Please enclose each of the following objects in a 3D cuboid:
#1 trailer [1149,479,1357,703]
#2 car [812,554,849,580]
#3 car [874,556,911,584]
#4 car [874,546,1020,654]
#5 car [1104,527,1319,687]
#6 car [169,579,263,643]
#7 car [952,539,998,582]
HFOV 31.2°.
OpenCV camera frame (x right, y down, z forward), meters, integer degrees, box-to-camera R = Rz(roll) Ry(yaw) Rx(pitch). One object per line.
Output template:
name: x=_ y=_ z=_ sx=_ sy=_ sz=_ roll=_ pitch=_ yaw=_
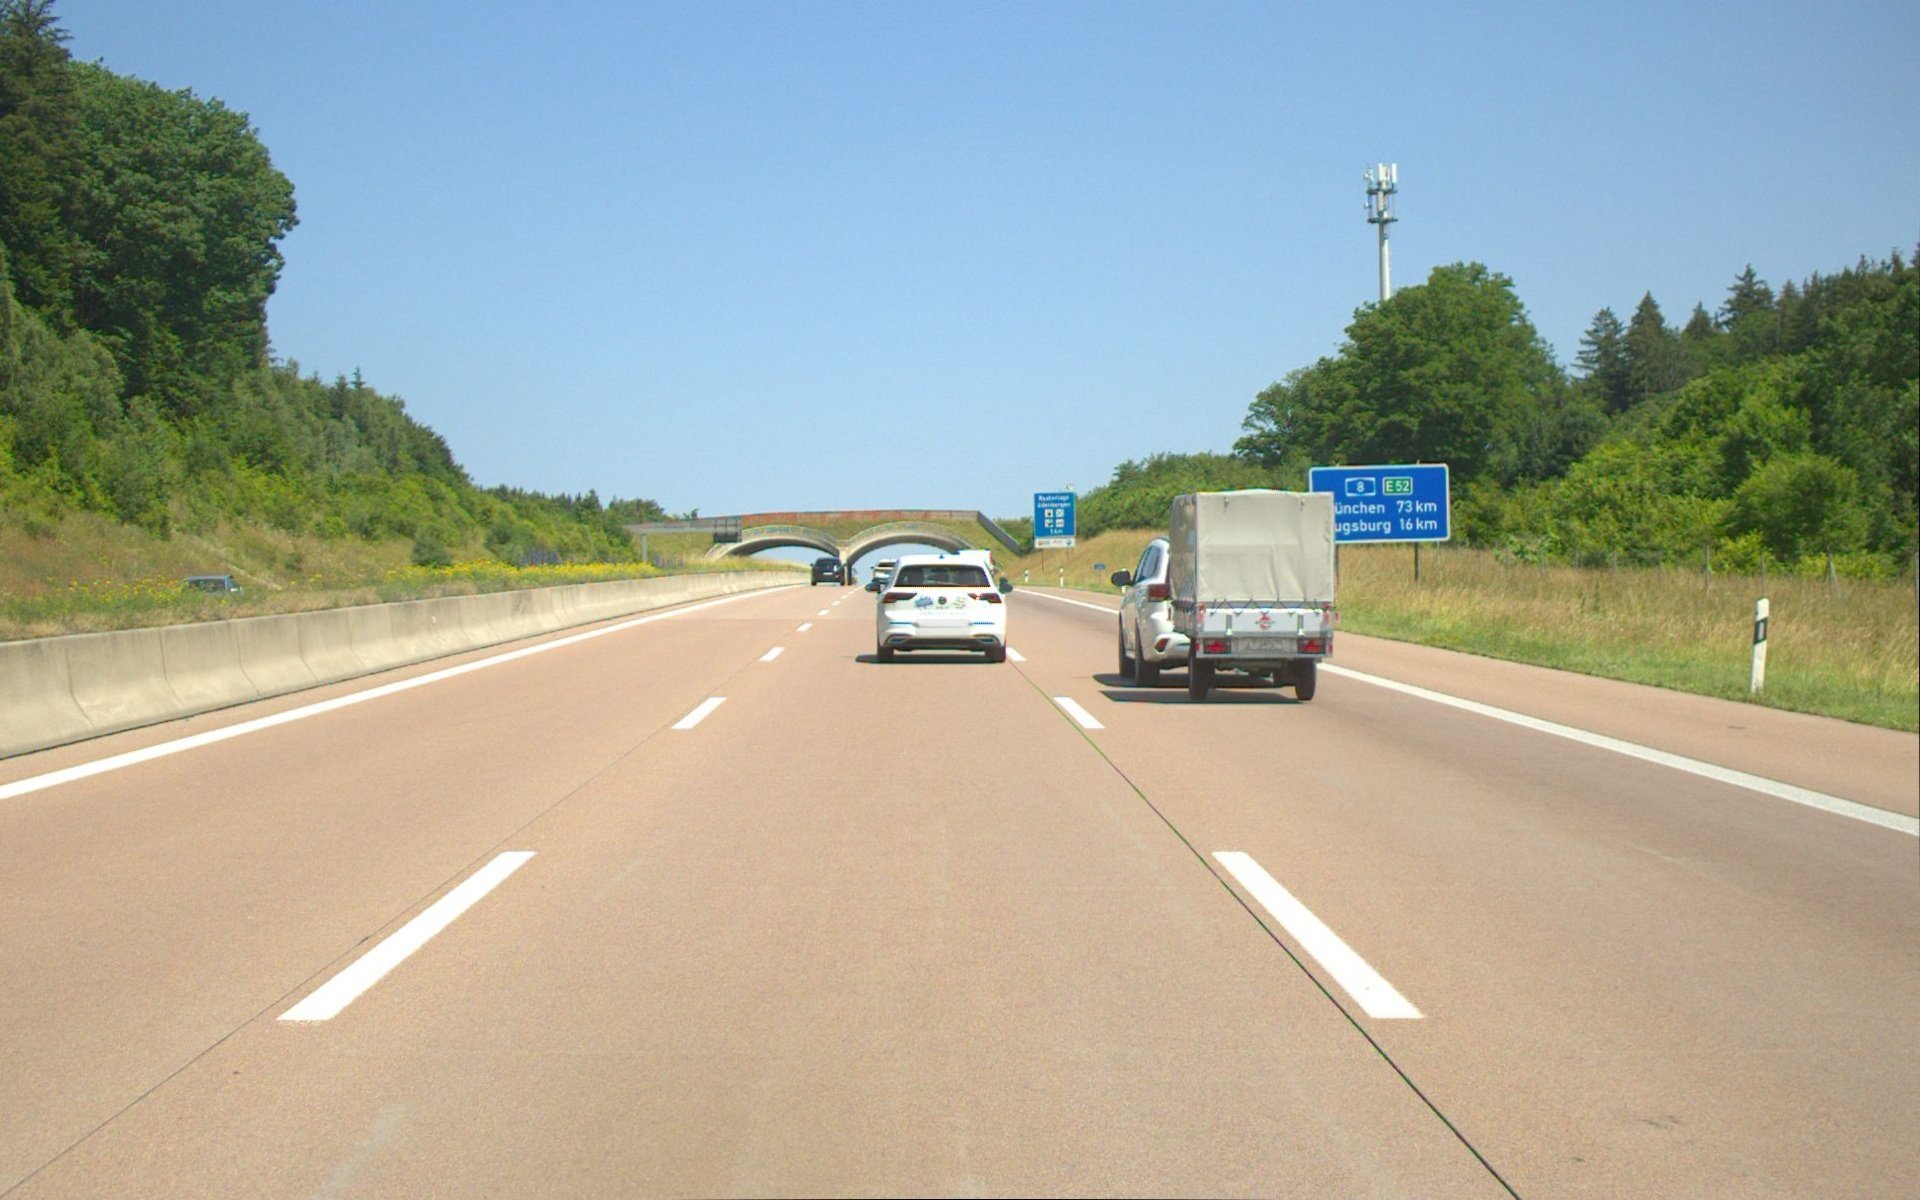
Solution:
trailer: x=2.927 y=-0.103 z=35.044 sx=1.657 sy=2.156 sz=4.016 roll=0 pitch=1 yaw=-2
car: x=-7.376 y=-1.891 z=195.706 sx=1.891 sy=1.458 sz=4.000 roll=0 pitch=1 yaw=1
car: x=-3.591 y=-1.594 z=182.920 sx=1.891 sy=1.458 sz=4.000 roll=1 pitch=1 yaw=0
car: x=-0.211 y=-0.029 z=47.036 sx=1.890 sy=1.393 sz=4.000 roll=1 pitch=1 yaw=-1
car: x=2.821 y=0.042 z=39.634 sx=1.890 sy=1.722 sz=5.187 roll=0 pitch=1 yaw=-2
car: x=-20.991 y=0.290 z=97.171 sx=1.890 sy=1.732 sz=4.464 roll=0 pitch=1 yaw=-3
car: x=0.736 y=-1.911 z=164.635 sx=2.110 sy=2.047 sz=4.000 roll=0 pitch=1 yaw=1
